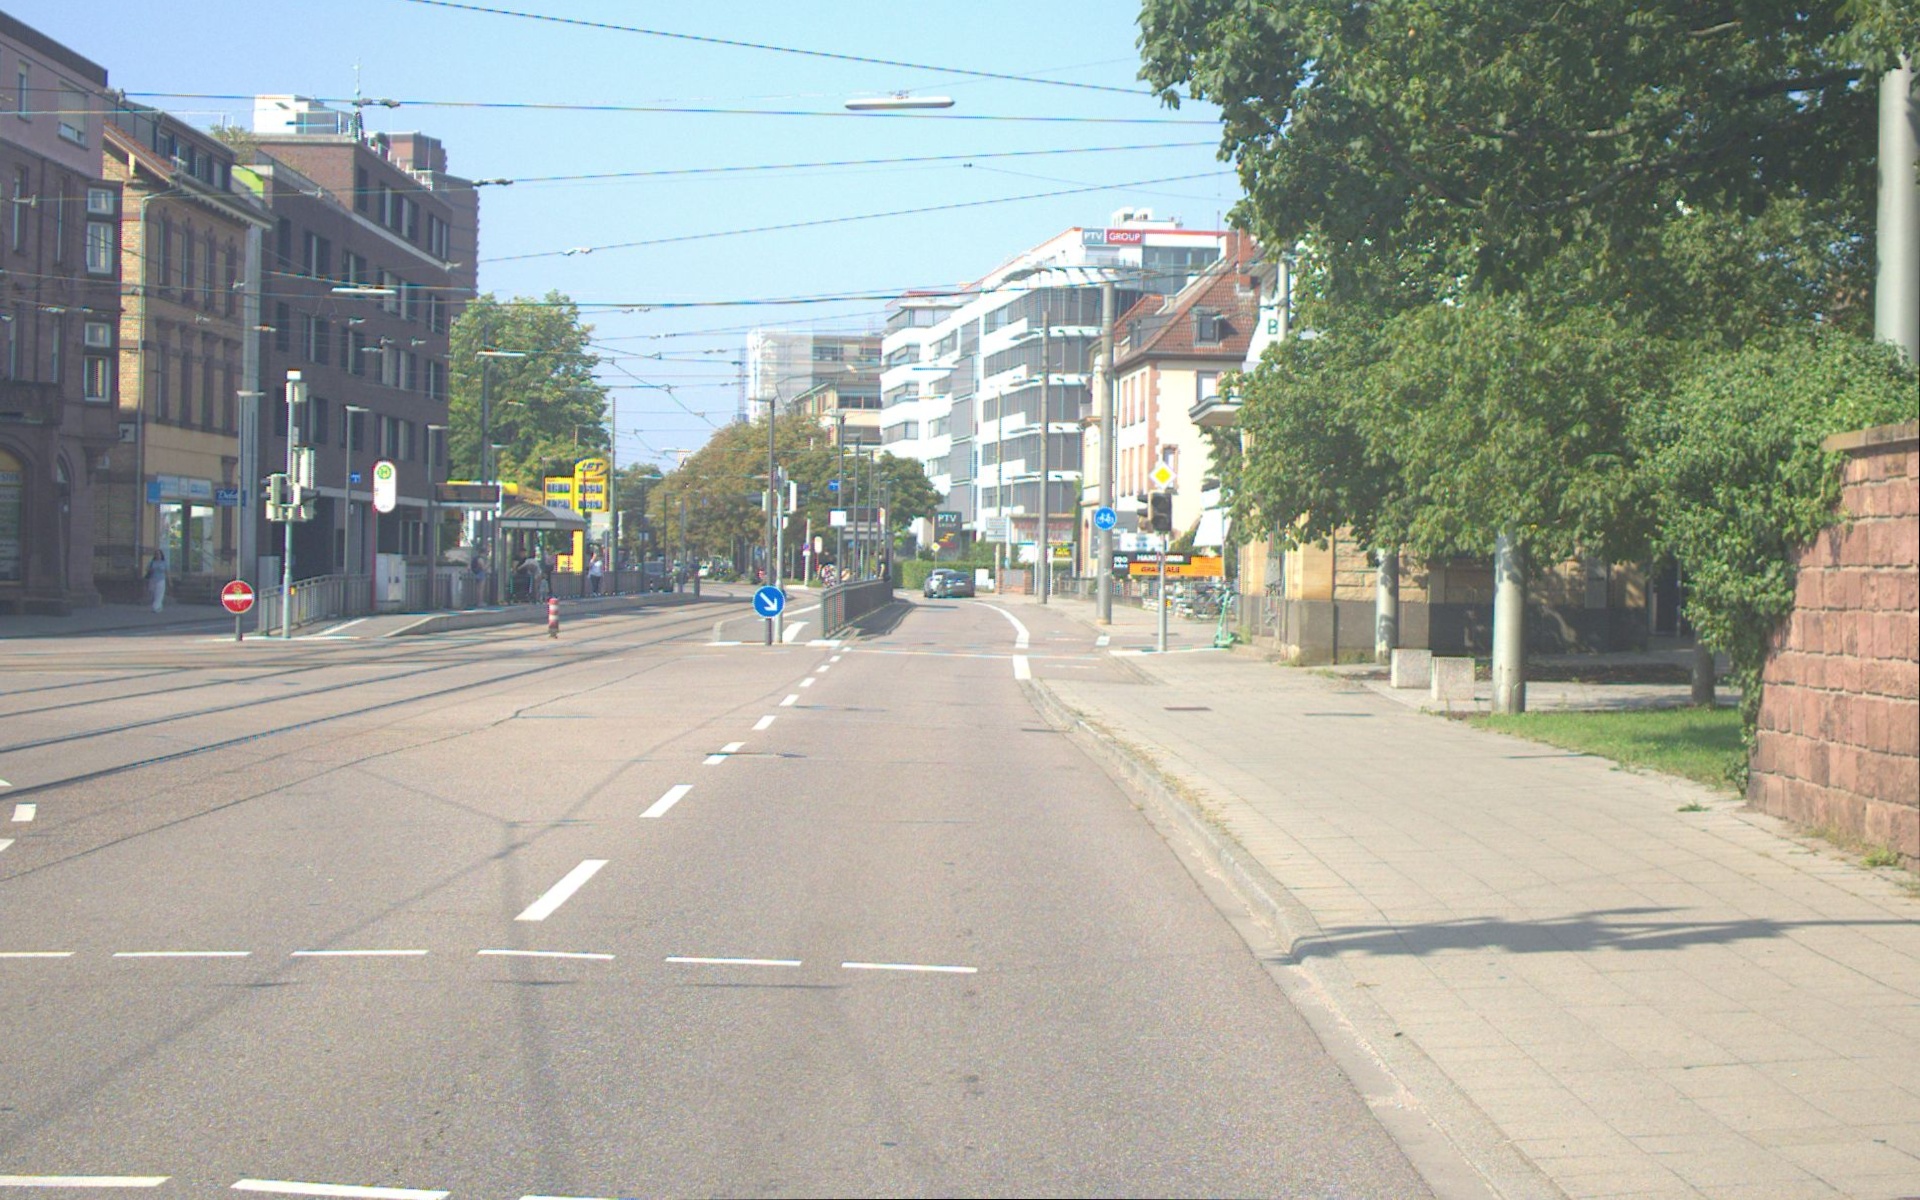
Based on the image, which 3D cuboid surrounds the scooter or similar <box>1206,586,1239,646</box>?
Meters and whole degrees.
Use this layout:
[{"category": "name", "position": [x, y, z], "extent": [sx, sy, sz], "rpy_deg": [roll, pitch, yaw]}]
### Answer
[{"category": "scooter or similar", "position": [5.033, 0.298, 66.001], "extent": [0.523, 1.130, 1.511], "rpy_deg": [-1, 0, 1]}]

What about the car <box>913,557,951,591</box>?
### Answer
[{"category": "car", "position": [-1.578, -1.452, 193.738], "extent": [2.011, 1.852, 4.000], "rpy_deg": [-1, 0, 1]}]

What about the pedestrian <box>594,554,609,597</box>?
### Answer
[{"category": "pedestrian", "position": [-12.735, -0.866, 122.070], "extent": [0.532, 1.525, 0.702], "rpy_deg": [-1, 0, -6]}]

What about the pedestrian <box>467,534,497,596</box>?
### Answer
[{"category": "pedestrian", "position": [-13.375, -0.979, 96.186], "extent": [0.708, 1.717, 0.799], "rpy_deg": [-1, 0, 1]}]

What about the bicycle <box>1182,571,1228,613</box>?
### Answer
[{"category": "bicycle", "position": [6.932, -0.227, 97.539], "extent": [0.731, 1.129, 2.840], "rpy_deg": [-2, 1, -7]}]

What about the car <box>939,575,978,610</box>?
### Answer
[{"category": "car", "position": [-0.062, -0.425, 187.474], "extent": [2.011, 1.852, 4.000], "rpy_deg": [-1, 0, 1]}]

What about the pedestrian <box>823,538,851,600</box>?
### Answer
[{"category": "pedestrian", "position": [-3.404, -0.855, 95.381], "extent": [0.720, 1.697, 0.884], "rpy_deg": [-1, 0, 1]}]

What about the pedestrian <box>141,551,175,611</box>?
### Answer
[{"category": "pedestrian", "position": [-21.302, -0.503, 91.328], "extent": [0.483, 1.555, 0.886], "rpy_deg": [2, -1, 11]}]
